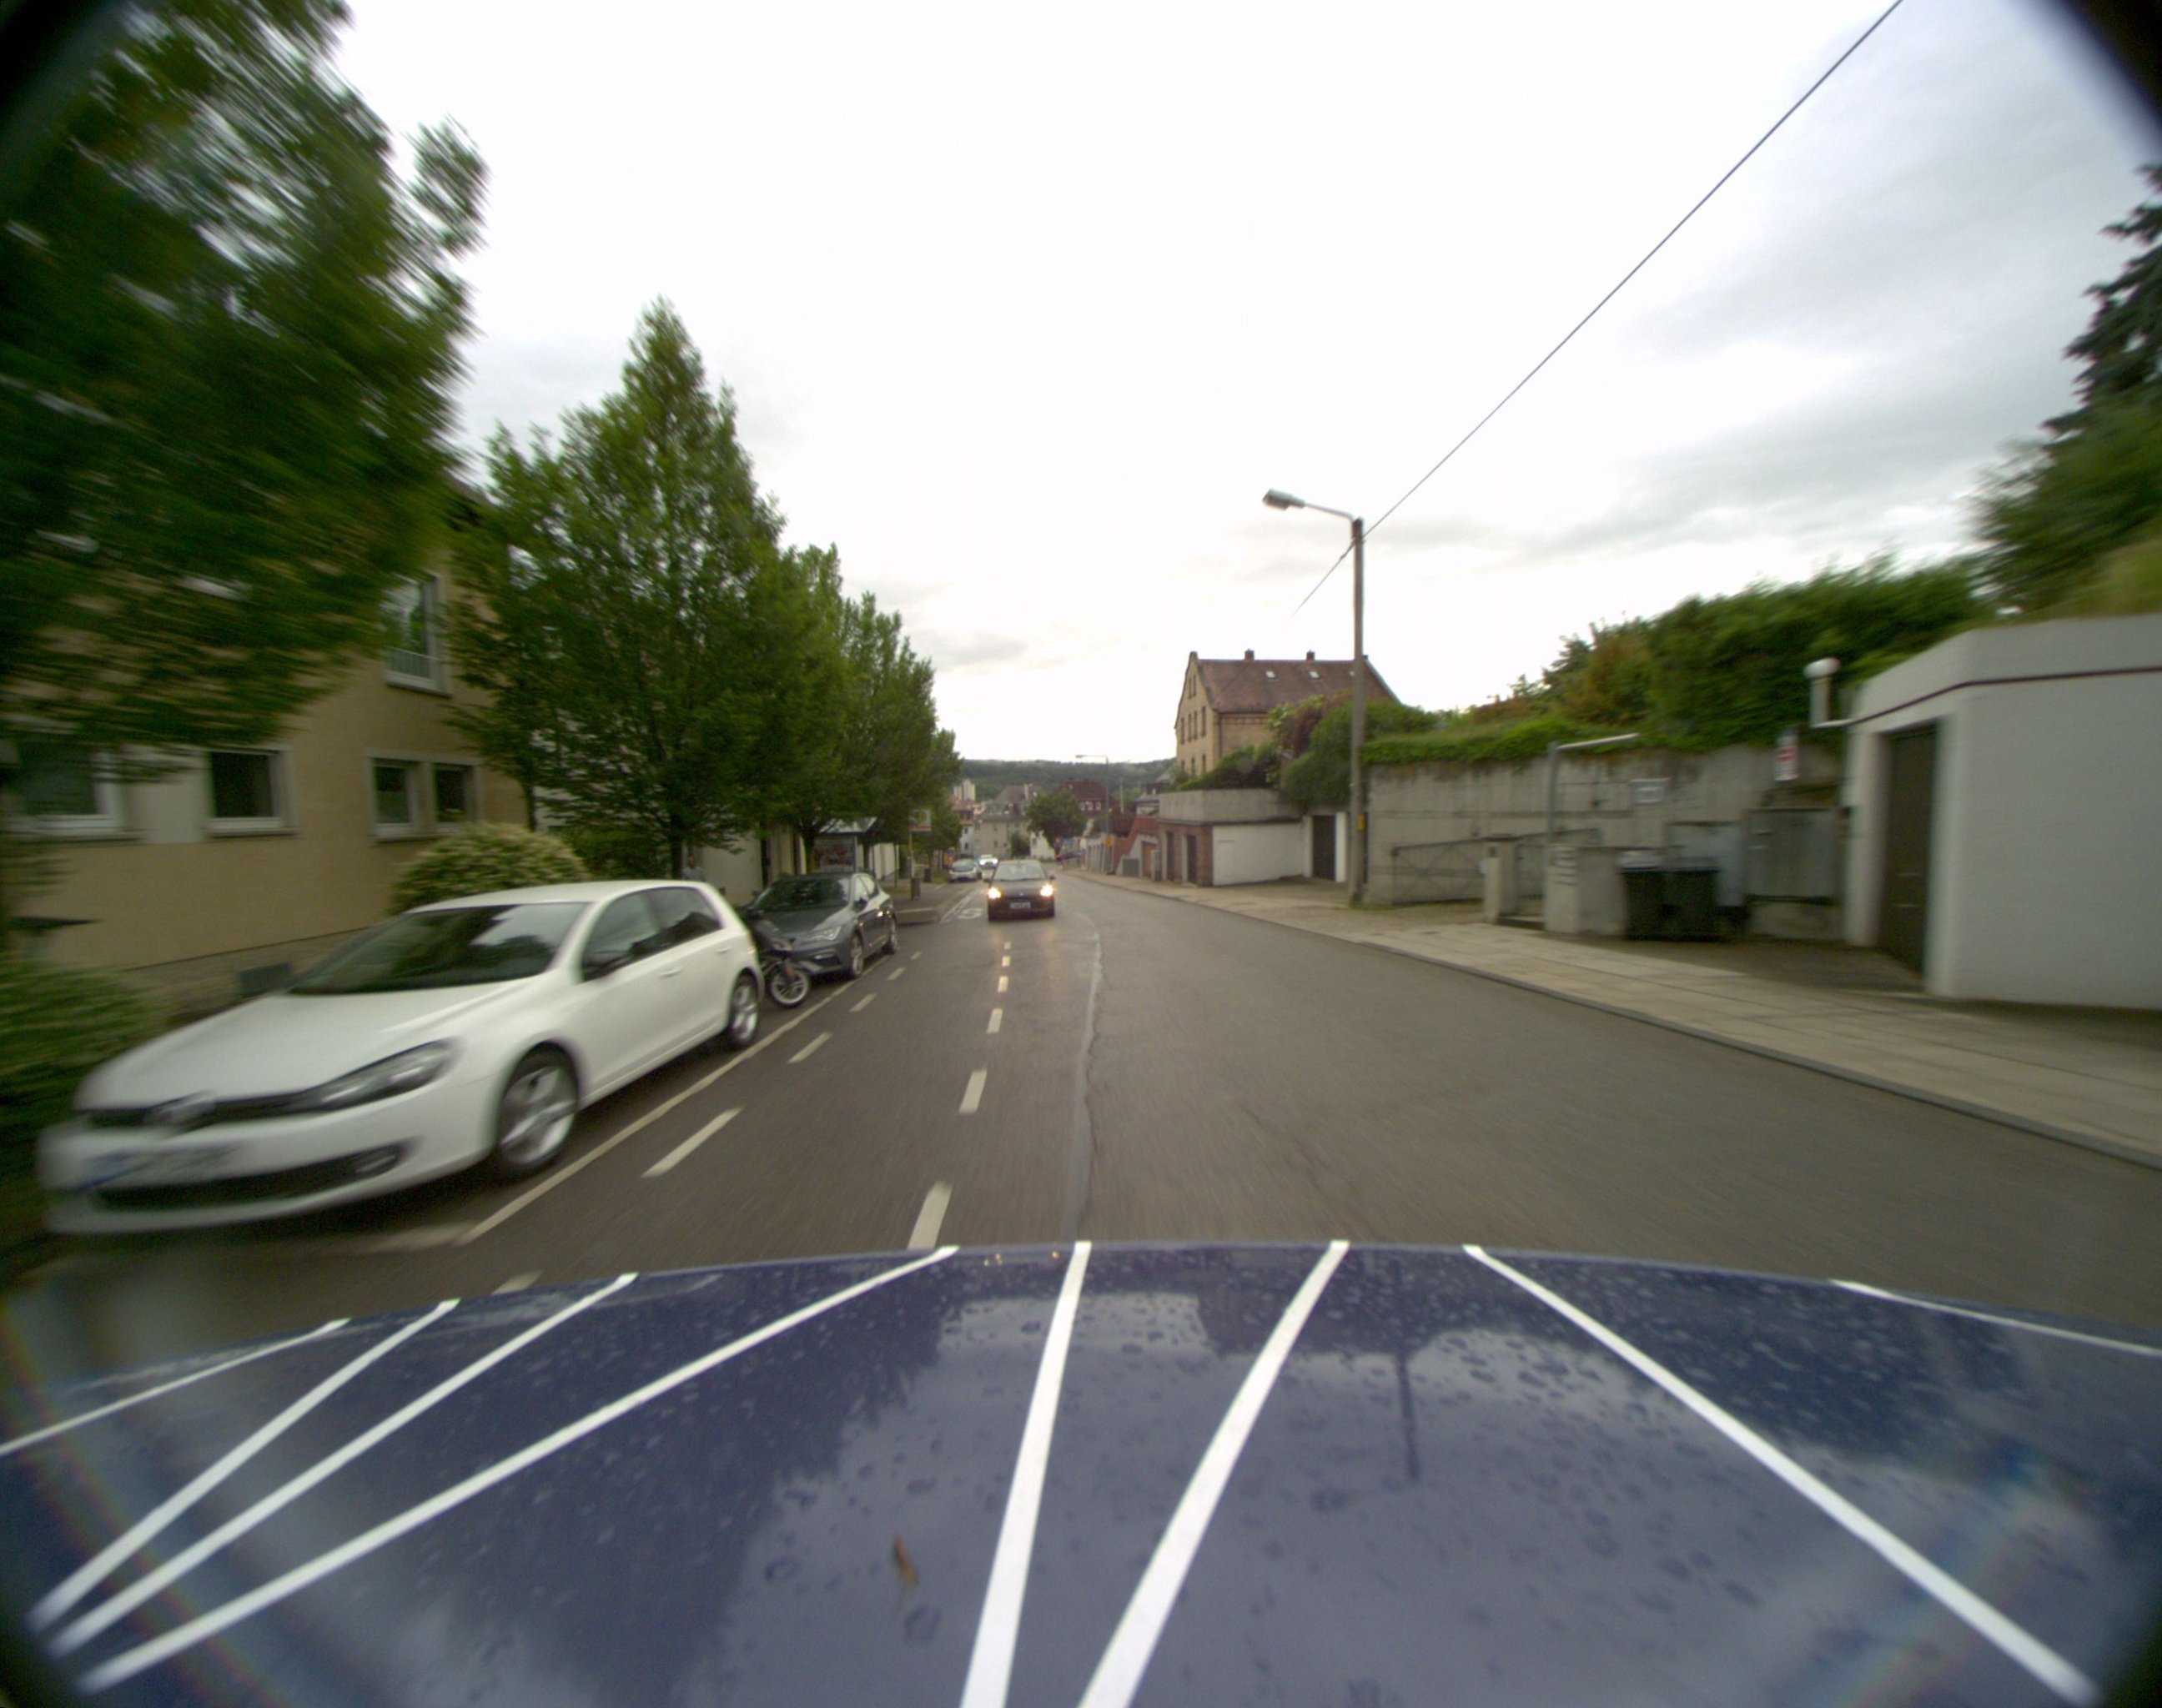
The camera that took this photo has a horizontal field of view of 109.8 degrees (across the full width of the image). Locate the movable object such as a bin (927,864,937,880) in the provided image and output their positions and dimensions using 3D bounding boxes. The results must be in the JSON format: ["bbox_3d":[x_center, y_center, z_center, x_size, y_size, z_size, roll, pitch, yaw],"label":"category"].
[{"bbox_3d":[-9.758,1.175,49.904,0.487,0.969,0.604,2,1,1],"label":"movable object such as a bin"}]

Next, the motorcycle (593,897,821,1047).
[{"bbox_3d":[-3.858,1.192,7.996,1.919,1.322,0.787,-3,1,-7],"label":"motorcycle"}]

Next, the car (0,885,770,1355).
[{"bbox_3d":[-3.638,1.080,4.815,1.661,1.481,3.999,-3,1,-1],"label":"car"}]

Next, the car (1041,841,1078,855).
[{"bbox_3d":[-2.586,-0.735,91.891,3.992,1.576,1.860,-2,1,15],"label":"car"}]

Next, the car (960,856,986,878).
[{"bbox_3d":[-8.165,0.951,57.564,1.784,1.430,4.877,-3,1,-8],"label":"car"}]

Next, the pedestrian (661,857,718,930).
[{"bbox_3d":[-9.290,0.920,18.076,0.835,1.676,1.044,1,1,-4],"label":"pedestrian"}]

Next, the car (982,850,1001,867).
[{"bbox_3d":[-10.721,0.546,90.617,2.017,1.892,4.091,-2,0,-9],"label":"car"}]

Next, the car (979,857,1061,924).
[{"bbox_3d":[-1.655,0.876,20.228,1.893,1.521,4.054,-2,0,-6],"label":"car"}]

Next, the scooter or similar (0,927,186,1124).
[{"bbox_3d":[-7.650,1.236,5.709,0.414,1.238,1.175,-2,1,-1],"label":"scooter or similar"}]

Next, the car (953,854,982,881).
[{"bbox_3d":[-7.737,0.896,52.067,1.734,1.598,4.116,-4,1,-7],"label":"car"}]

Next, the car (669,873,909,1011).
[{"bbox_3d":[-3.927,1.083,11.151,1.883,1.408,4.466,-2,0,-2],"label":"car"}]

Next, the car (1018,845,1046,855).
[{"bbox_3d":[-8.391,-0.698,130.120,4.228,1.663,1.874,-3,1,-27],"label":"car"}]
